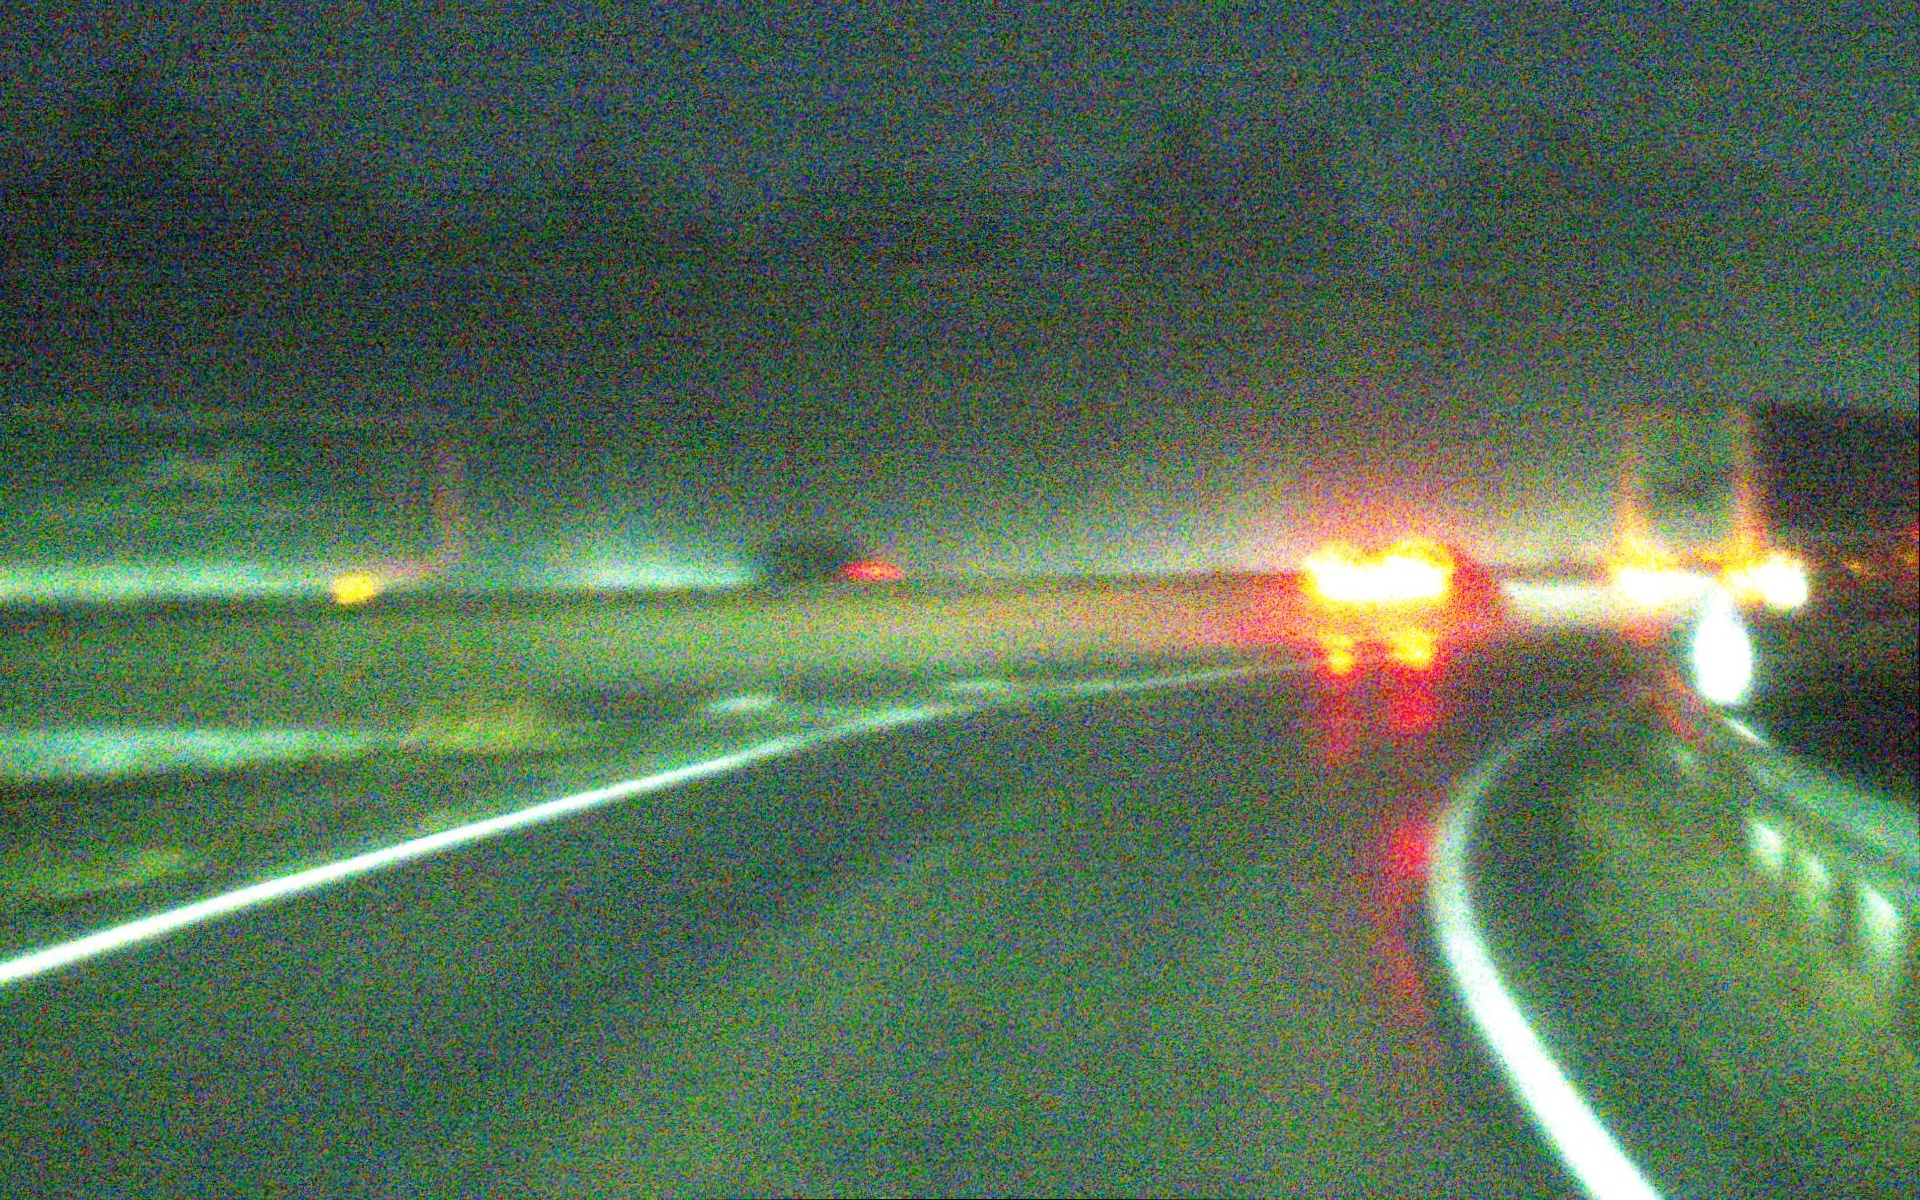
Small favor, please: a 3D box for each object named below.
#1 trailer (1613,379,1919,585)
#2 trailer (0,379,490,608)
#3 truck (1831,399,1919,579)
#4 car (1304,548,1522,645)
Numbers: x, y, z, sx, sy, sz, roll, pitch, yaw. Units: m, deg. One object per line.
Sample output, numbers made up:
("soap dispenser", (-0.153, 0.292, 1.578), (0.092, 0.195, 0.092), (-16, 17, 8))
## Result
("trailer", (17.214, -2.247, 68.253), (2.597, 3.712, 13.624), (3, 2, 36))
("trailer", (-14.134, -1.825, 60.009), (2.658, 3.718, 13.913), (2, 2, 37))
("truck", (20.924, -2.331, 73.287), (2.593, 3.698, 5.447), (3, 2, 36))
("car", (8.095, -0.089, 61.222), (1.998, 1.612, 3.991), (3, 2, 40))
